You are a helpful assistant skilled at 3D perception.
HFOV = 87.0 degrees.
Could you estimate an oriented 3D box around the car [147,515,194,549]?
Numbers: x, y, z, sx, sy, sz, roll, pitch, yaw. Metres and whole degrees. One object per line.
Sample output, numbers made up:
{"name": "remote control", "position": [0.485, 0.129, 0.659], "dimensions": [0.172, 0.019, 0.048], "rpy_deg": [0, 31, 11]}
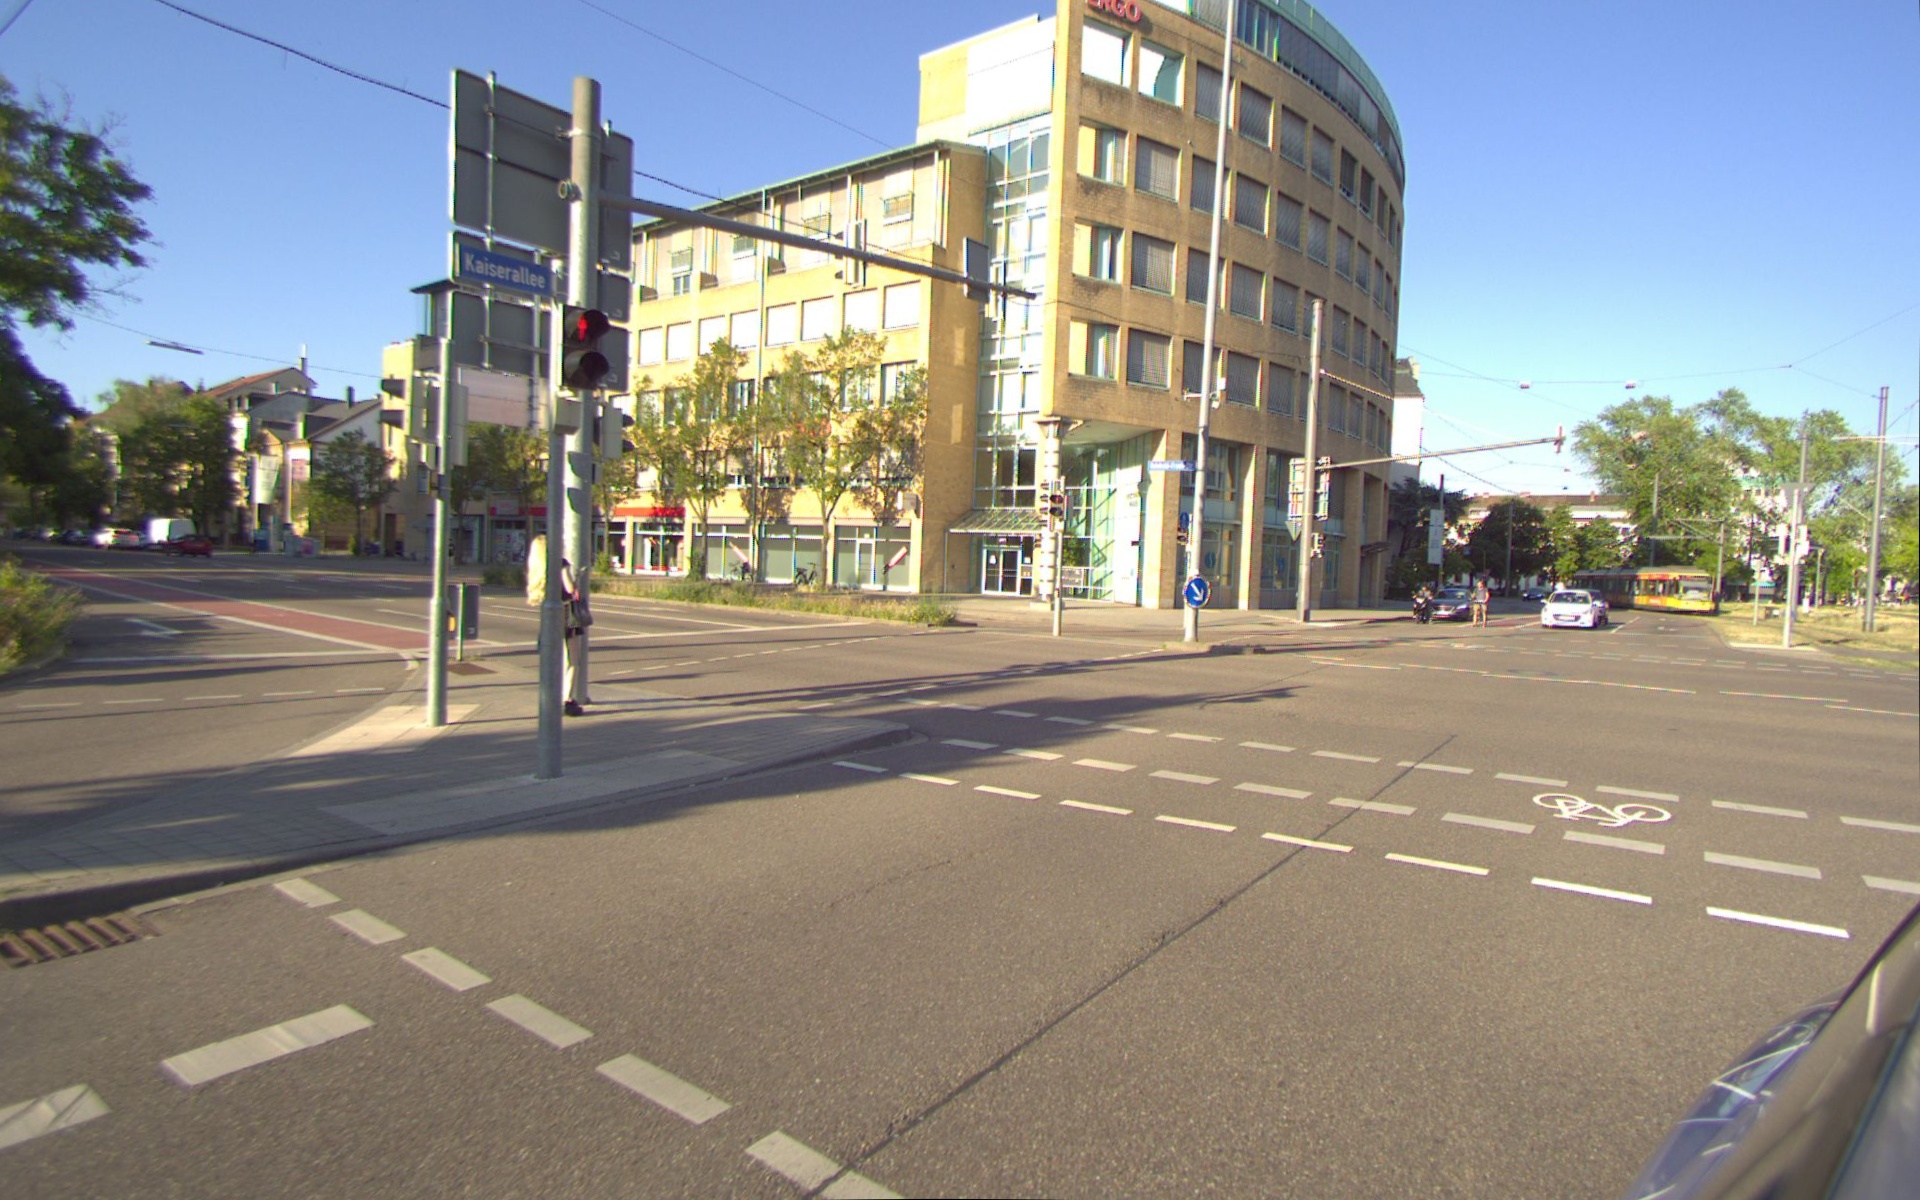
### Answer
{"name": "car", "position": [-61.912, -5.332, 79.354], "dimensions": [3.981, 2.470, 1.972], "rpy_deg": [4, 1, 39]}

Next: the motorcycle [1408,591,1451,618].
{"name": "motorcycle", "position": [18.916, 0.166, 40.749], "dimensions": [1.026, 0.975, 2.690], "rpy_deg": [3, 2, 37]}

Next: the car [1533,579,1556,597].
{"name": "car", "position": [64.182, -1.301, 111.080], "dimensions": [1.834, 1.840, 3.949], "rpy_deg": [3, 2, 35]}

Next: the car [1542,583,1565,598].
{"name": "car", "position": [74.967, -1.194, 127.782], "dimensions": [1.836, 1.840, 3.944], "rpy_deg": [4, 2, 39]}

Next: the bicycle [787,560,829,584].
{"name": "bicycle", "position": [-6.894, -1.269, 45.786], "dimensions": [2.070, 1.007, 0.639], "rpy_deg": [4, 2, 38]}

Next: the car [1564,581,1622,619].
{"name": "car", "position": [27.954, -0.026, 44.647], "dimensions": [1.811, 1.510, 4.010], "rpy_deg": [3, 2, 37]}

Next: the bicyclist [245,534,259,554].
{"name": "bicyclist", "position": [-51.712, -4.122, 73.905], "dimensions": [0.925, 1.386, 0.585], "rpy_deg": [5, 1, 39]}

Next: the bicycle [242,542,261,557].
{"name": "bicycle", "position": [-51.755, -3.684, 73.917], "dimensions": [1.969, 0.954, 0.585], "rpy_deg": [5, 2, 39]}

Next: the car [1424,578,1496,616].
{"name": "car", "position": [22.486, -0.153, 45.452], "dimensions": [1.977, 1.556, 4.434], "rpy_deg": [3, 3, 39]}

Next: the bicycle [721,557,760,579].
{"name": "bicycle", "position": [-10.587, -1.536, 48.711], "dimensions": [2.070, 1.007, 0.639], "rpy_deg": [4, 2, 38]}

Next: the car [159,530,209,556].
{"name": "car", "position": [-50.004, -3.675, 65.178], "dimensions": [3.981, 1.480, 1.652], "rpy_deg": [4, 1, 39]}

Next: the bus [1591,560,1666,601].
{"name": "bus", "position": [56.758, -1.708, 86.185], "dimensions": [2.322, 3.249, 11.017], "rpy_deg": [3, 2, 18]}

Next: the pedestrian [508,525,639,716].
{"name": "pedestrian", "position": [-3.793, 0.164, 9.926], "dimensions": [0.964, 1.760, 0.800], "rpy_deg": [3, 2, 40]}

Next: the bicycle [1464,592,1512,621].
{"name": "bicycle", "position": [20.160, 0.225, 38.588], "dimensions": [1.147, 1.013, 2.931], "rpy_deg": [4, 3, 36]}

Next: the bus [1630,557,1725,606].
{"name": "bus", "position": [53.381, -1.435, 75.666], "dimensions": [2.379, 3.249, 11.058], "rpy_deg": [2, 2, 17]}

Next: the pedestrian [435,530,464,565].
{"name": "pedestrian", "position": [-30.076, -3.109, 59.648], "dimensions": [1.155, 2.000, 1.096], "rpy_deg": [3, 2, 38]}

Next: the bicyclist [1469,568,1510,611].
{"name": "bicyclist", "position": [20.127, -0.408, 38.453], "dimensions": [1.148, 1.591, 1.211], "rpy_deg": [4, 2, 36]}

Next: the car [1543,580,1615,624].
{"name": "car", "position": [23.853, 0.035, 38.939], "dimensions": [1.983, 1.510, 4.122], "rpy_deg": [3, 2, 36]}

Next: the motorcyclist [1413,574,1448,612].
{"name": "motorcyclist", "position": [18.940, -0.279, 40.749], "dimensions": [1.026, 1.453, 1.054], "rpy_deg": [3, 2, 37]}

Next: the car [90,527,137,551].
{"name": "car", "position": [-64.237, -4.656, 76.769], "dimensions": [4.249, 1.627, 1.896], "rpy_deg": [4, 2, 39]}
